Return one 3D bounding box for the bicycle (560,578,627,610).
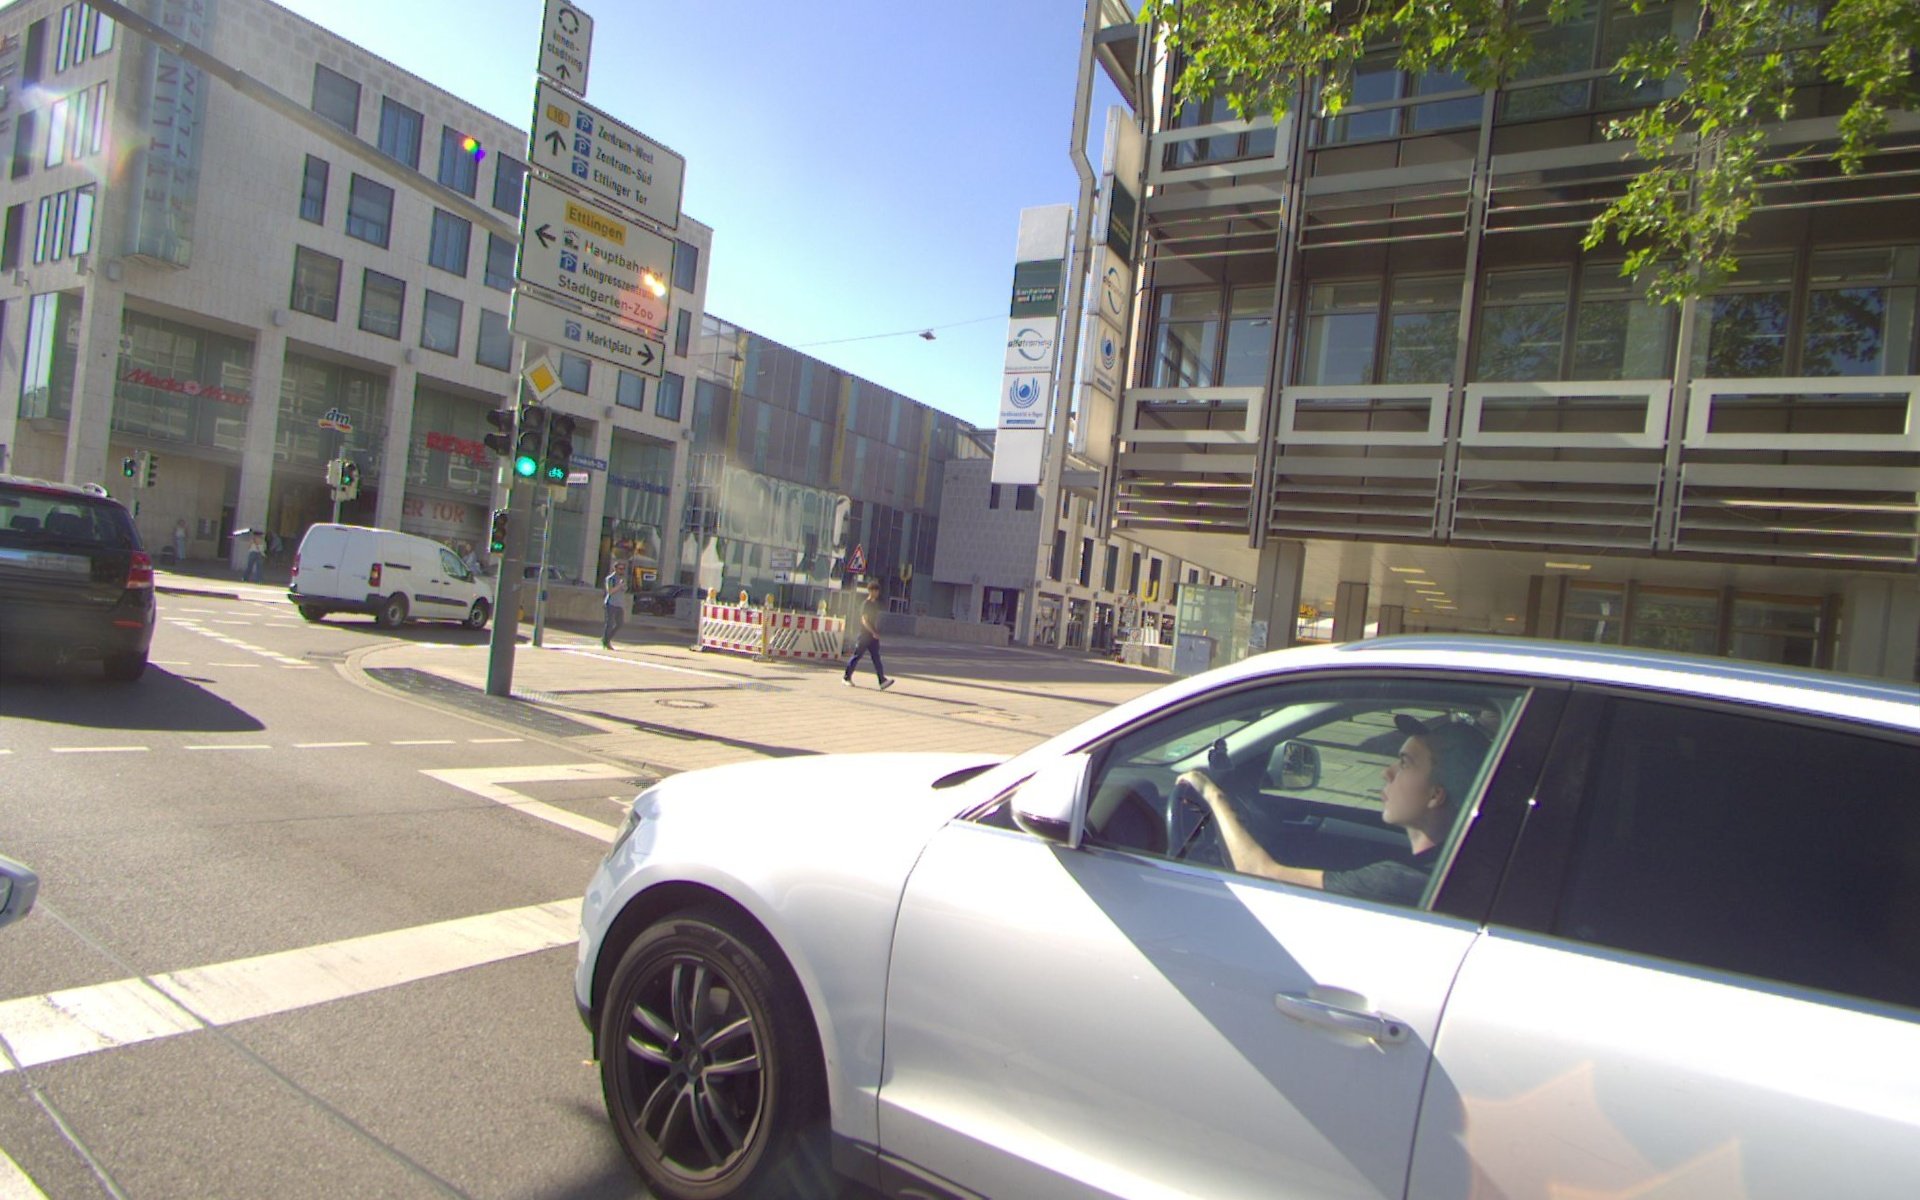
[{"bbox_3d":[-17.441,-0.289,47.836,3.441,1.107,1.067,6,-1,34],"label":"bicycle"}]

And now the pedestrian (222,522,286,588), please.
[{"bbox_3d":[-21.324,-1.349,30.387,1.497,1.825,0.967,6,2,31],"label":"pedestrian"}]

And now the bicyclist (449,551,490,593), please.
[{"bbox_3d":[-19.223,-1.093,39.425,1.024,1.451,0.933,6,0,34],"label":"bicyclist"}]

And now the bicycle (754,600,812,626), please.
[{"bbox_3d":[-10.316,0.772,58.492,3.441,1.107,1.067,6,-1,34],"label":"bicycle"}]

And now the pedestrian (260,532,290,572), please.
[{"bbox_3d":[-30.031,-2.107,44.110,0.737,1.628,0.724,7,1,31],"label":"pedestrian"}]

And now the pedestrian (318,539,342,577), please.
[{"bbox_3d":[-31.023,-2.043,49.555,0.639,1.784,0.556,7,1,-6],"label":"pedestrian"}]

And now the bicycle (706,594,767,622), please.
[{"bbox_3d":[-12.209,0.428,54.970,3.441,1.107,1.067,6,-1,34],"label":"bicycle"}]

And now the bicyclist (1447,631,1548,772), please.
[{"bbox_3d":[6.354,1.179,11.891,0.869,1.495,0.882,7,0,31],"label":"bicyclist"}]

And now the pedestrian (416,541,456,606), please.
[{"bbox_3d":[-13.889,-0.697,26.689,0.517,1.633,0.661,6,2,22],"label":"pedestrian"}]

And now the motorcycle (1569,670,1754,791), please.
[{"bbox_3d":[10.457,1.912,15.106,2.087,1.459,0.824,6,0,31],"label":"motorcycle"}]

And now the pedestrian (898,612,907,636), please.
[{"bbox_3d":[-4.115,1.720,71.961,0.291,1.704,0.337,7,0,40],"label":"pedestrian"}]

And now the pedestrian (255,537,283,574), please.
[{"bbox_3d":[-32.519,-2.077,47.343,0.737,1.628,0.556,7,1,-6],"label":"pedestrian"}]

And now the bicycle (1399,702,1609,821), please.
[{"bbox_3d":[6.359,1.848,11.835,2.017,0.996,0.882,6,0,31],"label":"bicycle"}]

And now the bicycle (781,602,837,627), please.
[{"bbox_3d":[-9.092,0.884,60.534,3.441,1.107,1.067,6,-1,34],"label":"bicycle"}]

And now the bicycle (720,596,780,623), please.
[{"bbox_3d":[-11.796,0.514,56.410,3.441,1.107,1.067,6,-1,34],"label":"bicycle"}]

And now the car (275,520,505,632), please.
[{"bbox_3d":[-11.036,-0.367,19.897,1.756,1.754,4.166,7,-1,5],"label":"car"}]

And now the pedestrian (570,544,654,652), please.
[{"bbox_3d":[-7.067,-0.023,20.463,1.059,2.038,0.950,7,0,20],"label":"pedestrian"}]

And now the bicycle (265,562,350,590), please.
[{"bbox_3d":[-22.427,-0.808,34.605,1.055,0.679,2.194,6,-1,34],"label":"bicycle"}]

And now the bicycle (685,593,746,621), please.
[{"bbox_3d":[-13.179,0.375,54.218,3.441,1.107,1.067,6,-1,34],"label":"bicycle"}]

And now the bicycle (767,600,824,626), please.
[{"bbox_3d":[-9.754,0.771,59.577,3.441,1.107,1.067,6,-1,34],"label":"bicycle"}]

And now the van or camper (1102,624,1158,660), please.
[{"bbox_3d":[14.496,3.622,85.639,2.142,2.544,6.414,6,-1,33],"label":"van or camper"}]

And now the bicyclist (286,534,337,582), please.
[{"bbox_3d":[-22.338,-1.443,34.651,1.055,1.494,1.022,6,0,35],"label":"bicyclist"}]

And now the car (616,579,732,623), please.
[{"bbox_3d":[-12.051,0.083,42.725,1.831,1.437,4.609,4,-2,33],"label":"car"}]

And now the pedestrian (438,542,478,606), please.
[{"bbox_3d":[-13.255,-0.679,26.564,0.517,1.633,0.661,6,2,22],"label":"pedestrian"}]

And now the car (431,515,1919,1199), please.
[{"bbox_3d":[0.821,0.844,2.613,4.339,1.633,1.822,6,-1,32],"label":"car"}]

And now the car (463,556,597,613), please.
[{"bbox_3d":[-15.880,-0.553,37.375,1.831,1.631,4.190,4,-2,33],"label":"car"}]

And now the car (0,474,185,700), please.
[{"bbox_3d":[-8.948,-0.259,9.350,4.350,1.719,1.783,6,-1,40],"label":"car"}]

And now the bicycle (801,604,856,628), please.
[{"bbox_3d":[-8.080,0.966,61.798,3.441,1.107,1.067,6,-1,34],"label":"bicycle"}]

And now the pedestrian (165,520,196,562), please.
[{"bbox_3d":[-32.450,-2.469,41.880,0.547,1.628,0.749,7,1,29],"label":"pedestrian"}]

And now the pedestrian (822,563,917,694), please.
[{"bbox_3d":[-1.509,0.493,16.912,1.060,2.038,0.949,7,0,23],"label":"pedestrian"}]
